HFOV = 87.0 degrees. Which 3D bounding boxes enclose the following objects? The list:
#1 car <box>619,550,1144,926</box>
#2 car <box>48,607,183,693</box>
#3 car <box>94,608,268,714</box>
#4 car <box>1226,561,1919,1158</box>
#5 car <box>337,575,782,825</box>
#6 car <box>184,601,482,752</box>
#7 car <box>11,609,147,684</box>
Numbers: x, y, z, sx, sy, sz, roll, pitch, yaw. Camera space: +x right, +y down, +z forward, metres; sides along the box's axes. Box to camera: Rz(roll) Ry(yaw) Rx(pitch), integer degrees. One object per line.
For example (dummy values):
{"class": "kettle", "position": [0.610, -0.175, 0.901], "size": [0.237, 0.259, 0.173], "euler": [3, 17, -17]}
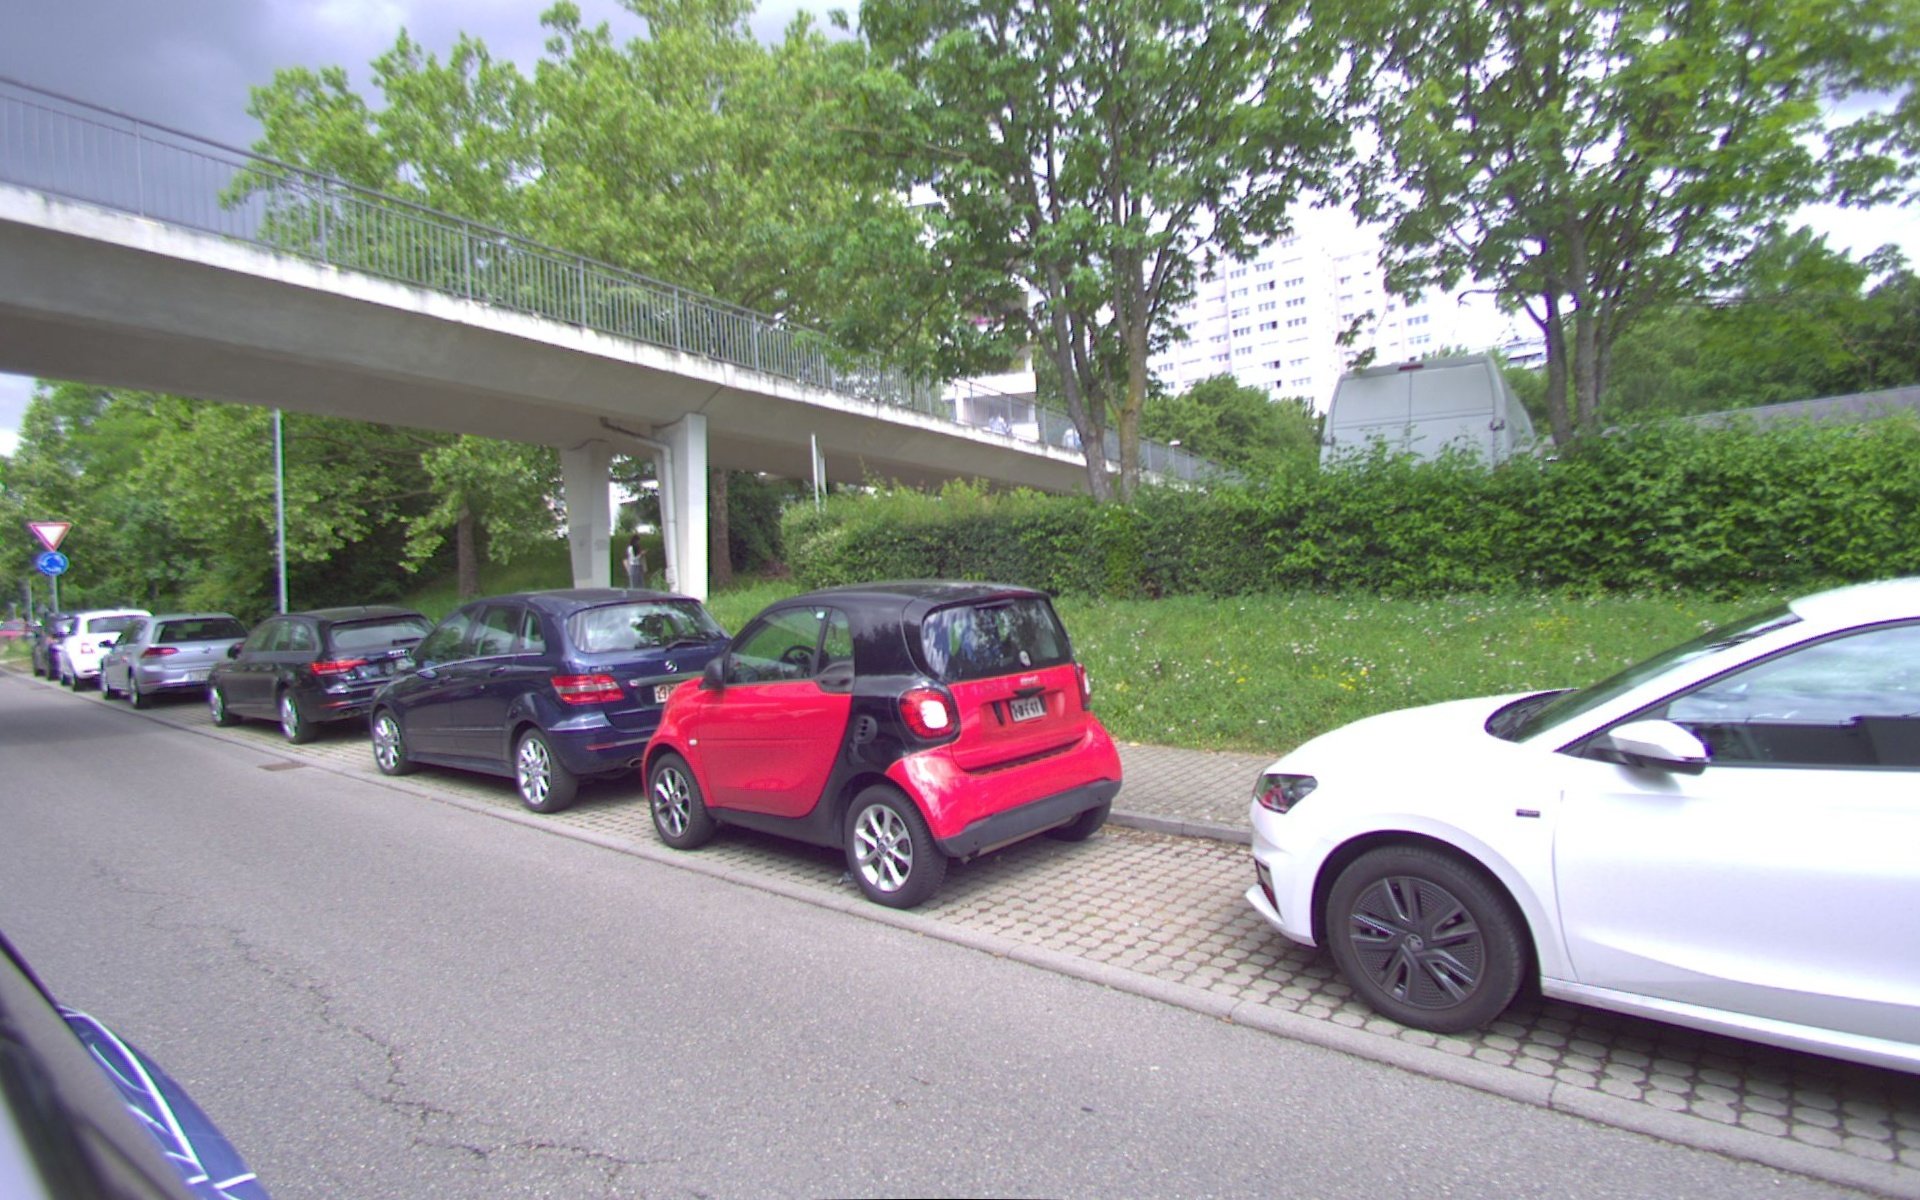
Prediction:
{"class": "car", "position": [-0.532, 0.595, 5.924], "size": [2.684, 1.596, 1.577], "euler": [-1, 4, 42]}
{"class": "car", "position": [-17.361, 0.946, 20.754], "size": [3.724, 1.582, 1.788], "euler": [-1, 0, 45]}
{"class": "car", "position": [-13.331, 0.941, 17.244], "size": [3.863, 1.466, 1.788], "euler": [-1, 3, 45]}
{"class": "car", "position": [3.079, 0.609, 2.986], "size": [4.046, 1.415, 1.790], "euler": [-1, 3, 41]}
{"class": "car", "position": [-3.549, 0.681, 8.650], "size": [3.981, 1.596, 1.790], "euler": [-1, 2, 40]}
{"class": "car", "position": [-7.924, 0.818, 12.620], "size": [4.482, 1.491, 1.790], "euler": [-1, 2, 40]}
{"class": "car", "position": [-20.644, 1.026, 23.681], "size": [3.718, 1.582, 1.790], "euler": [-1, 0, 39]}
